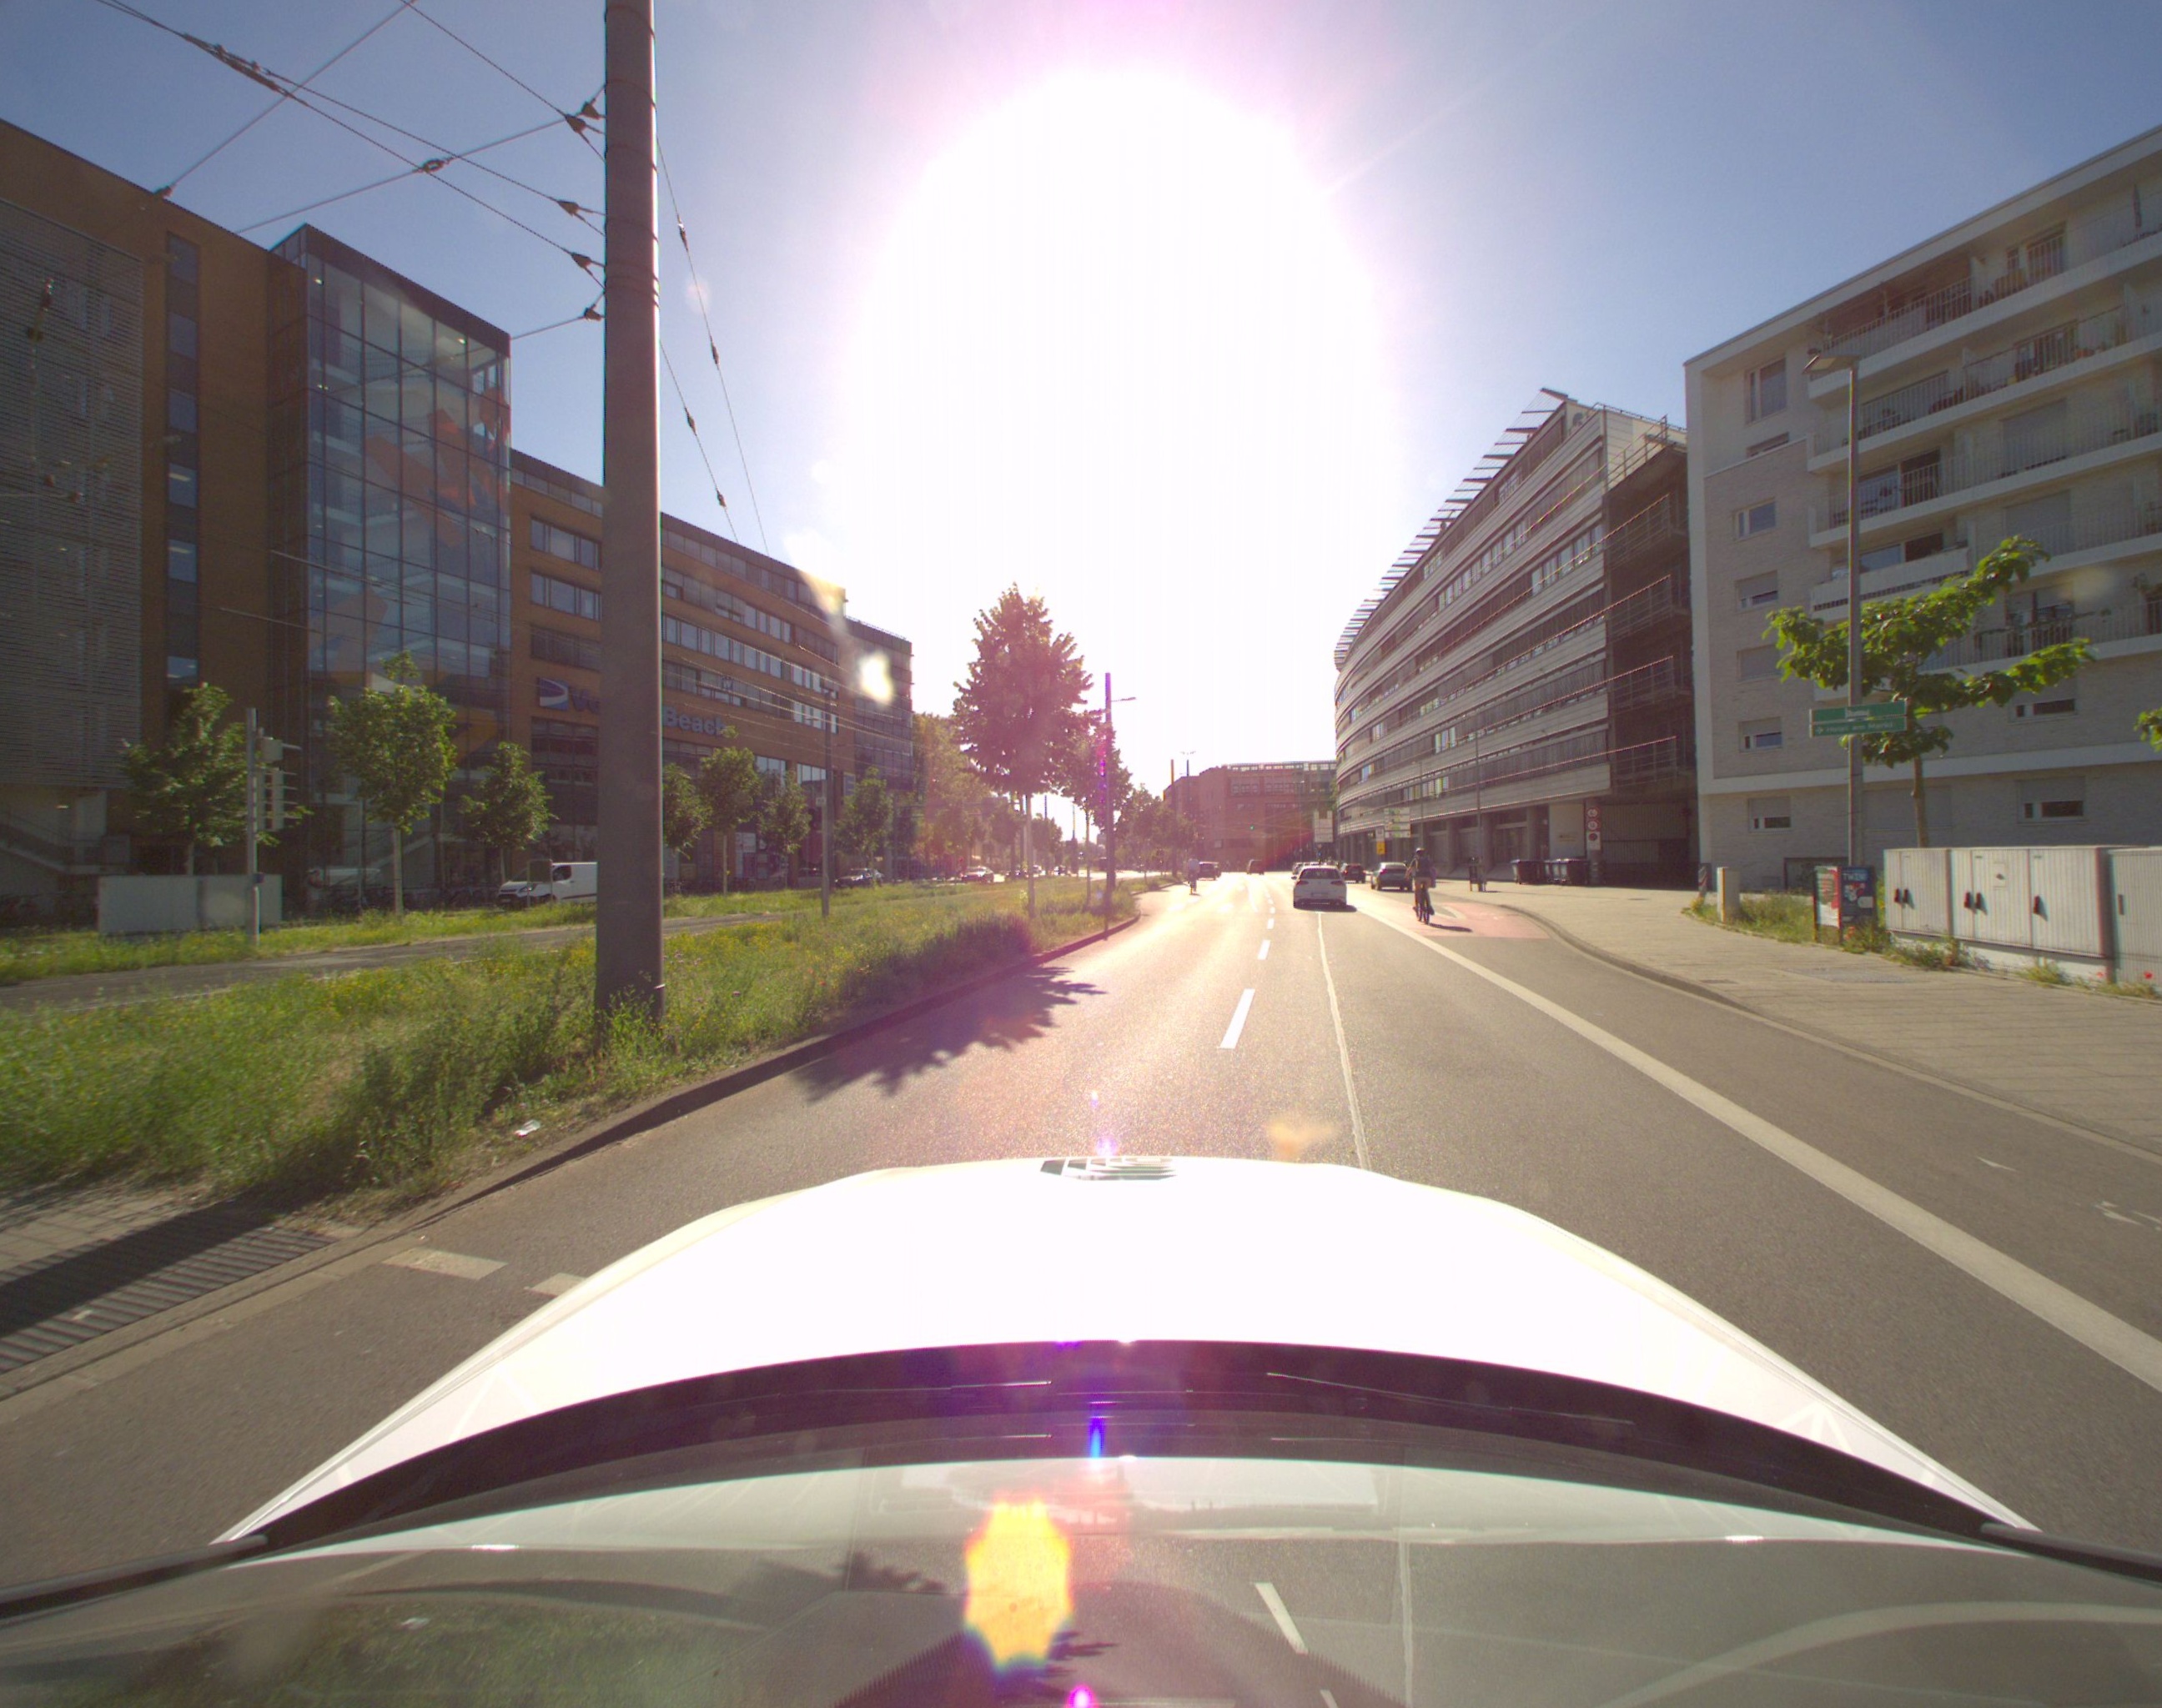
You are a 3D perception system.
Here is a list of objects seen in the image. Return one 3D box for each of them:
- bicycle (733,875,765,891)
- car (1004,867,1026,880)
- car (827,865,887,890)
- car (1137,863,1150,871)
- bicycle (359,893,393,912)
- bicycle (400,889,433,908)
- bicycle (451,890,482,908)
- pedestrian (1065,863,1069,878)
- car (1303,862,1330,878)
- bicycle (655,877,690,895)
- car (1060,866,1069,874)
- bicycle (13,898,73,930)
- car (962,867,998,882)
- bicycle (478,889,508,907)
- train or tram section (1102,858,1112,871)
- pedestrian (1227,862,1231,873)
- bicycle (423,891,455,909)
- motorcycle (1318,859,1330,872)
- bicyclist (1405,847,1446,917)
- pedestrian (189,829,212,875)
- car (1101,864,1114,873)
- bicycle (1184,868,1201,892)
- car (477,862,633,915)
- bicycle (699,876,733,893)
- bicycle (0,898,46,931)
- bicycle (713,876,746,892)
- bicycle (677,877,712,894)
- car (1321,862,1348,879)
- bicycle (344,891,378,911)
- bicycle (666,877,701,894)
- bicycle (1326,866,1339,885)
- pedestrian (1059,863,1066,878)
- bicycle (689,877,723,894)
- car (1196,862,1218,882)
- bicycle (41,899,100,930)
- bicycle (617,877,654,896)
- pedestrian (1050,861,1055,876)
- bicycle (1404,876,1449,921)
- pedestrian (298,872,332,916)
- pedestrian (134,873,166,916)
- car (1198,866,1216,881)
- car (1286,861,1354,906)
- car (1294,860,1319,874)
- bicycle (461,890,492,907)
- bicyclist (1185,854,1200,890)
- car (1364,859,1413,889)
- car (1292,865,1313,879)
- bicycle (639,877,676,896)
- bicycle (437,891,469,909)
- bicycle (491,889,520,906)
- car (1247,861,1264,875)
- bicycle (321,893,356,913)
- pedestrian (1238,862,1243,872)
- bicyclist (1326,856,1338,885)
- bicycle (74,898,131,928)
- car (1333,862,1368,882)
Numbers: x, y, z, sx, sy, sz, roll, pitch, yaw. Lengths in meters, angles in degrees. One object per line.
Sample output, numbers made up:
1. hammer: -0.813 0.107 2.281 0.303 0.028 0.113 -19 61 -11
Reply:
1. bicycle: -24.109 2.130 59.199 2.155 1.123 0.757 0 -1 19
2. car: -7.222 2.165 89.476 1.418 1.359 3.306 -1 -1 12
3. car: -15.771 1.625 57.550 1.979 1.681 4.556 -1 -1 15
4. car: 13.639 2.777 178.041 2.259 1.727 3.936 -1 -1 -6
5. bicycle: -30.984 2.122 35.808 1.434 0.819 0.448 0 -1 19
6. bicycle: -30.006 2.017 36.790 1.434 0.819 0.448 0 -1 19
7. bicycle: -29.402 2.163 38.987 1.434 0.819 0.448 0 -1 19
8. pedestrian: -1.771 2.112 102.902 0.386 1.831 0.460 -1 -1 -22
9. car: 24.624 1.649 85.176 1.898 1.583 4.142 1 0 4
10. bicycle: -26.454 2.040 52.734 2.155 1.123 0.757 0 -1 19
11. car: -3.396 3.258 163.893 1.605 1.398 3.916 -5 0 -2
12. bicycle: -33.547 1.943 26.315 2.155 0.954 0.495 0 -1 19
13. car: -9.213 1.842 74.939 1.981 1.334 4.802 -1 -1 9
14. bicycle: -29.133 2.170 40.337 1.434 0.819 0.448 0 -1 19
15. train or tram section: 6.618 2.671 208.369 2.319 3.003 13.159 -1 -1 1
16. pedestrian: 22.654 2.072 124.901 0.478 1.579 0.413 -1 -1 -7
17. bicycle: -29.708 2.126 37.680 1.434 0.819 0.448 0 -1 19
18. motorcycle: 23.547 1.131 78.905 0.824 1.201 2.396 0 -1 9
19. bicyclist: 8.563 0.684 20.284 0.800 1.693 1.055 0 -1 15
20. pedestrian: -37.072 -0.071 34.284 0.369 1.915 0.544 -2 -3 32
21. car: 5.605 3.087 171.916 2.259 1.727 3.936 -1 -1 -6
22. bicycle: 5.383 1.222 39.263 0.682 1.070 2.705 1 -1 11
23. car: -21.625 1.363 33.802 2.204 2.014 5.277 -1 -1 16
24. bicycle: -25.386 2.096 56.653 2.155 1.123 0.757 0 -1 19
25. bicycle: -33.725 1.900 25.772 2.155 0.954 0.495 0 -1 19
26. bicycle: -24.800 2.127 57.502 2.155 1.123 0.757 0 -1 19
27. bicycle: -25.747 2.098 54.296 2.155 1.123 0.757 0 -1 19
28. car: 22.363 1.423 72.094 1.710 1.396 4.802 -1 -1 11
29. bicycle: -31.131 2.037 35.198 1.434 0.819 0.448 0 -1 19
30. bicycle: -26.117 2.067 53.510 2.155 1.123 0.757 0 -1 19
31. bicycle: 15.414 1.318 49.991 0.644 1.110 1.764 -1 -3 14
32. pedestrian: -2.294 2.063 100.633 0.584 1.831 0.493 0 -1 -28
33. bicycle: -25.731 2.166 55.900 2.155 1.123 0.757 0 -1 19
34. car: 10.717 1.498 69.017 1.715 1.564 3.688 -1 -1 11
35. bicycle: -33.428 1.987 26.944 2.155 0.954 0.495 0 -1 19
36. bicycle: -27.621 2.025 50.471 2.155 1.123 0.757 0 -1 19
37. pedestrian: -3.515 1.817 99.498 0.463 1.831 0.454 0 -1 -28
38. bicycle: 8.612 1.086 20.368 0.819 1.037 1.899 0 -1 16
39. pedestrian: -30.126 1.559 32.035 0.591 1.685 0.781 -1 -1 11
40. pedestrian: -34.429 1.503 30.116 0.629 1.553 0.666 -2 -1 31
41. car: 12.625 1.934 81.962 1.716 1.449 4.531 -1 -1 8
42. car: 8.263 0.982 28.477 1.762 1.403 4.305 1 0 10
43. car: 25.196 1.451 91.182 1.897 1.541 4.143 1 0 4
44. bicycle: -29.306 2.156 39.477 1.434 0.819 0.448 0 -1 19
45. bicyclist: 5.345 0.848 39.035 0.614 1.670 1.022 1 -1 10
46. car: 16.669 1.073 44.274 1.711 1.524 4.411 -1 -1 10
47. car: 26.794 2.151 98.548 1.896 1.583 4.147 1 0 7
48. bicycle: -26.988 2.056 51.892 2.155 1.123 0.757 0 -1 19
49. bicycle: -29.504 2.148 38.272 1.434 0.819 0.448 0 -1 19
50. bicycle: -29.127 2.188 41.232 1.434 0.819 0.448 0 -1 19
51. car: 21.456 1.687 100.222 1.771 1.703 4.149 1 0 10
52. bicycle: -31.418 2.079 34.470 1.434 0.819 0.448 0 -1 19
53. pedestrian: 24.471 2.000 124.968 0.478 1.656 0.490 -1 -1 -7
54. bicyclist: 15.443 0.989 50.170 0.644 1.752 1.049 -1 0 14
55. bicycle: -33.083 1.982 27.528 2.155 0.954 0.495 0 -1 19
56. car: 20.149 1.331 61.036 1.711 1.422 4.648 0 -1 9
